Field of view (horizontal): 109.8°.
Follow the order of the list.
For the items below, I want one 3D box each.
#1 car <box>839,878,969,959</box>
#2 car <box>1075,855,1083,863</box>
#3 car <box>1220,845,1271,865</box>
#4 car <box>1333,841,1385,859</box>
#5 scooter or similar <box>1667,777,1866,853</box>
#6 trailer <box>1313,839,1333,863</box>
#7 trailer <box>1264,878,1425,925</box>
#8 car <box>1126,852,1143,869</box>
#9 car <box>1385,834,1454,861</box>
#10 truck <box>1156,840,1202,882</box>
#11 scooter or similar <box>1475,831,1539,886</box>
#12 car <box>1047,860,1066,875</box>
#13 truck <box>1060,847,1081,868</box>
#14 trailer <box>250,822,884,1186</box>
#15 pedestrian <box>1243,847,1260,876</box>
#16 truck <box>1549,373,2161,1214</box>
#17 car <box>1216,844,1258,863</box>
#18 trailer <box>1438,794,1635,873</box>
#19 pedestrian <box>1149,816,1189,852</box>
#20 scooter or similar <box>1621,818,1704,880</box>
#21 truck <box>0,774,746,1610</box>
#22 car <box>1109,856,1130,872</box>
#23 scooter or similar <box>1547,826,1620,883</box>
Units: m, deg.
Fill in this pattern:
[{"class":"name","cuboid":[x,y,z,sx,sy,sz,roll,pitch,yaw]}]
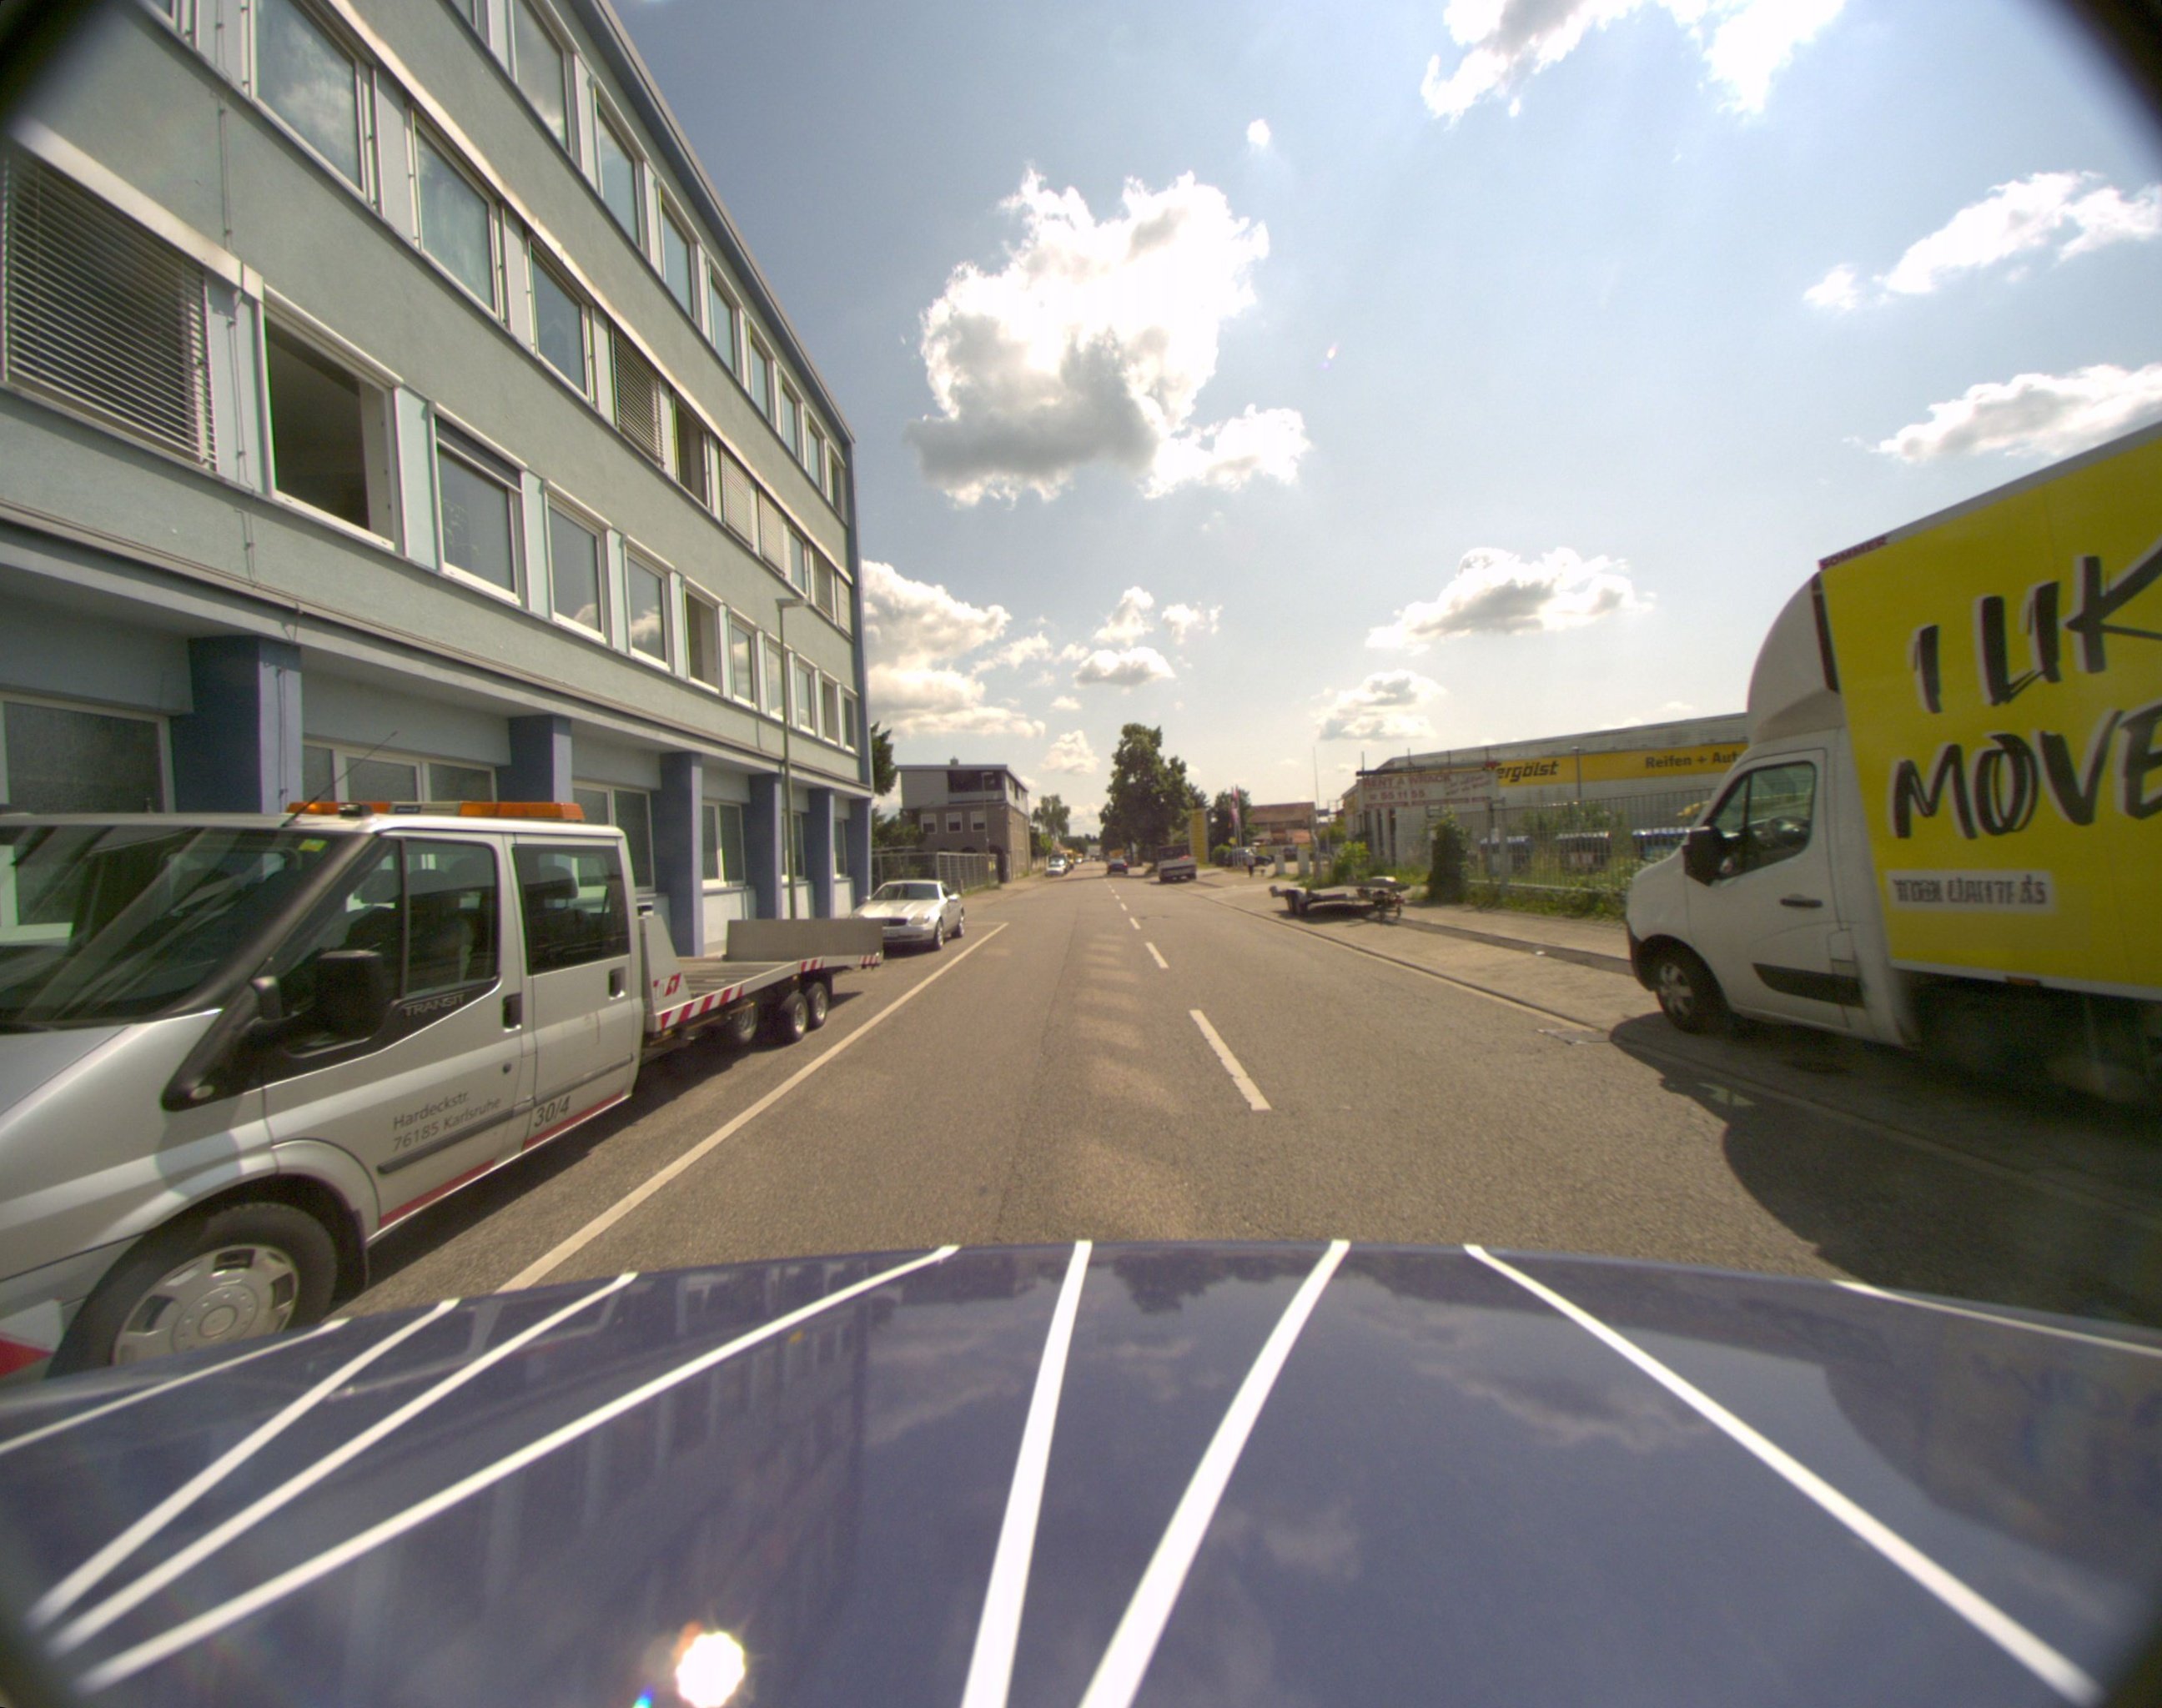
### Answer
[{"class":"car","cuboid":[-3.430,1.207,15.493,1.651,1.239,4.000,-3,0,0]},{"class":"car","cuboid":[-0.487,1.361,199.149,1.998,2.002,4.000,-3,0,2]},{"class":"car","cuboid":[14.128,0.049,65.348,3.847,1.405,1.857,-5,1,-22]},{"class":"car","cuboid":[25.531,-0.359,69.897,4.276,1.474,1.672,-3,1,15]},{"class":"scooter or similar","cuboid":[27.136,-1.487,30.348,5.473,2.540,2.003,-3,0,21]},{"class":"trailer","cuboid":[18.513,-0.235,58.149,1.268,1.682,2.972,-4,1,17]},{"class":"trailer","cuboid":[6.064,1.072,18.178,2.241,0.549,4.444,-8,0,-1]},{"class":"car","cuboid":[8.044,0.984,113.786,1.997,2.289,4.003,-3,0,10]},{"class":"car","cuboid":[21.027,-0.398,47.289,3.577,1.428,1.792,-3,0,13]},{"class":"truck","cuboid":[6.086,0.392,48.038,2.133,2.225,7.350,-6,0,3]},{"class":"scooter or similar","cuboid":[12.967,0.140,23.131,1.172,1.577,1.316,-4,0,-43]},{"class":"car","cuboid":[-2.335,1.275,74.248,1.657,1.324,4.000,-3,0,0]},{"class":"truck","cuboid":[-1.428,0.491,107.118,2.402,2.787,6.375,-3,0,2]},{"class":"trailer","cuboid":[-3.654,0.850,7.191,1.978,1.959,5.765,-3,0,0]},{"class":"pedestrian","cuboid":[9.246,0.423,41.257,0.661,1.536,0.918,-3,0,2]},{"class":"truck","cuboid":[5.403,-0.305,3.129,2.256,3.342,6.906,-8,0,0]},{"class":"car","cuboid":[15.995,-0.081,78.200,4.093,1.703,1.680,-3,0,9]},{"class":"trailer","cuboid":[19.130,-0.818,32.332,6.528,2.835,2.761,-3,0,12]},{"class":"pedestrian","cuboid":[5.449,-1.216,47.371,1.998,2.002,4.000,-4,1,2]},{"class":"scooter or similar","cuboid":[15.902,-0.132,20.793,1.172,1.577,1.582,-4,0,-43]},{"class":"truck","cuboid":[-3.641,0.863,3.507,1.969,2.023,4.734,-3,0,0]},{"class":"car","cuboid":[3.536,0.898,70.324,1.789,1.430,4.309,0,0,0]},{"class":"scooter or similar","cuboid":[14.357,0.018,21.714,1.172,1.528,1.446,-4,0,-43]}]
